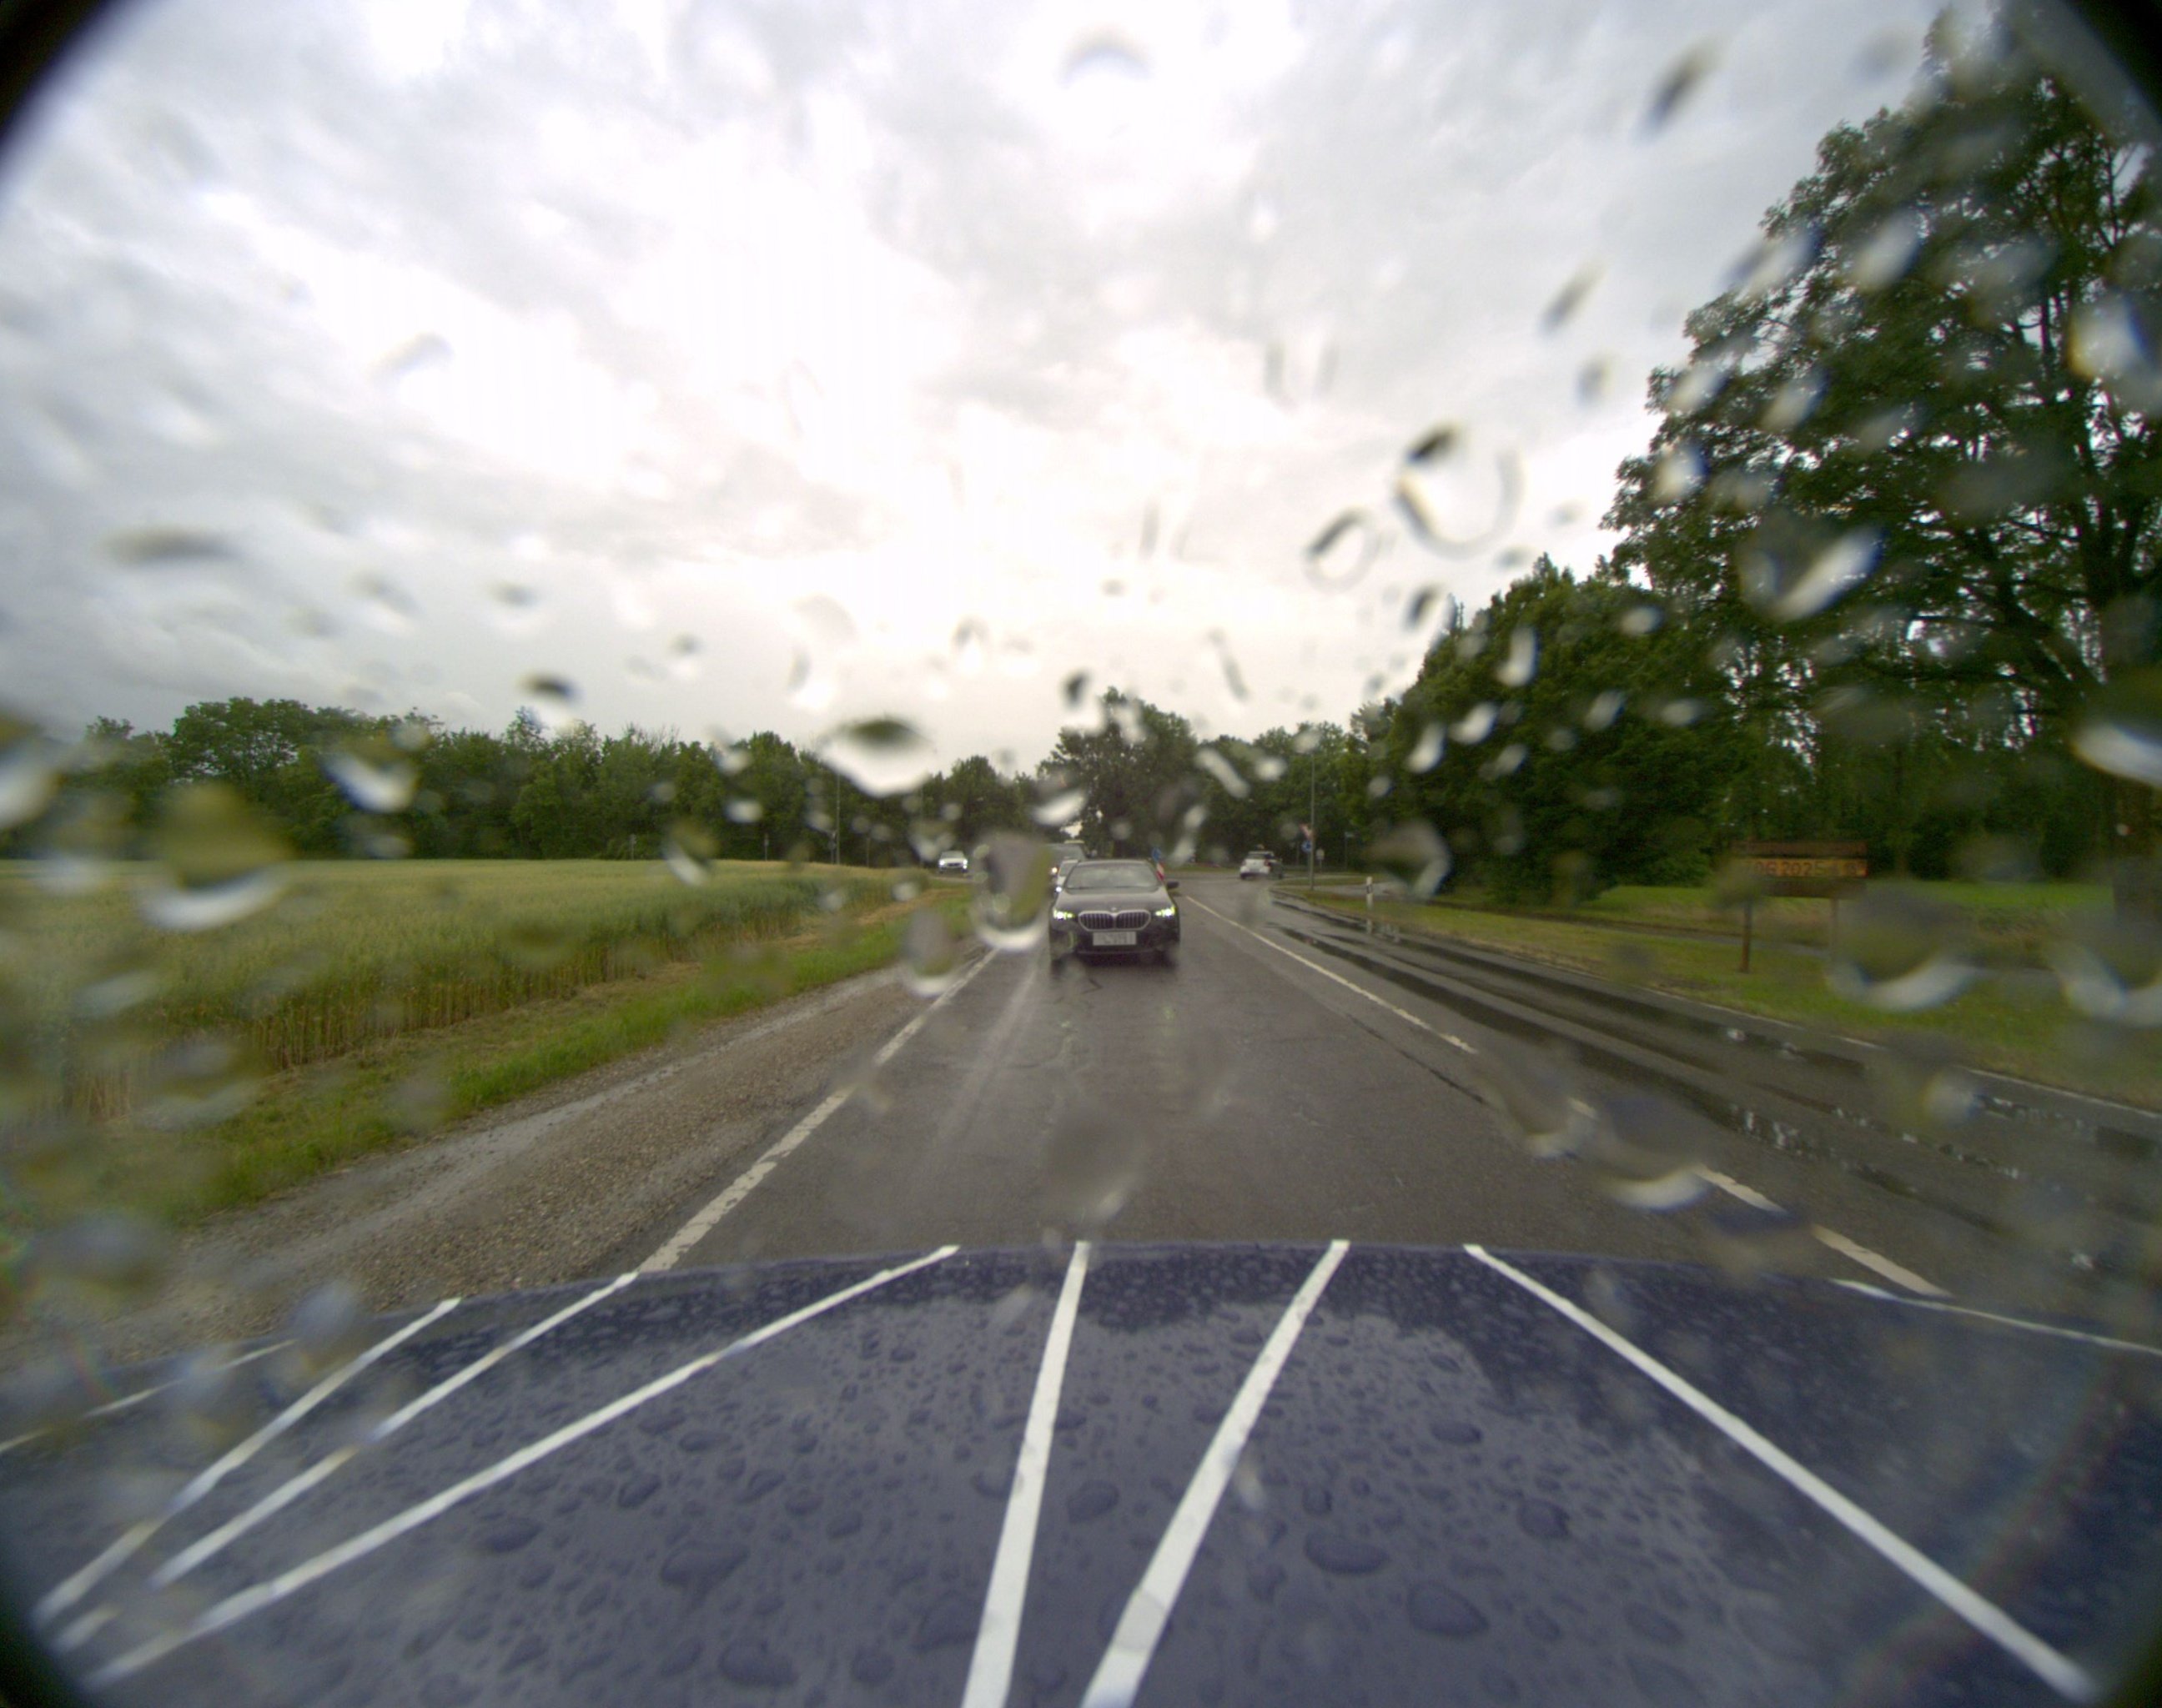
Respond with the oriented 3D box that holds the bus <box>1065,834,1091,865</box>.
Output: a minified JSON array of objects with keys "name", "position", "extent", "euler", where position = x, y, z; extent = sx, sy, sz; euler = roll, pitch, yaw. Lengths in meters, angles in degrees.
[{"name":"bus","position":[-0.239,-0.604,98.315],"extent":[2.995,3.665,14.294],"euler":[1,0,1]}]

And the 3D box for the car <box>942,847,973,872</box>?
[{"name":"car","position":[-8.180,0.335,49.941],"extent":[1.893,1.522,4.498],"euler":[-1,0,-10]}]

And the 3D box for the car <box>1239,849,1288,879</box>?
[{"name":"car","position":[10.039,0.541,41.594],"extent":[1.676,1.489,3.742],"euler":[2,0,28]}]

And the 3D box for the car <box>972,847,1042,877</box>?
[{"name":"car","position":[-4.167,0.426,41.908],"extent":[1.896,1.522,5.243],"euler":[-1,0,-28]}]

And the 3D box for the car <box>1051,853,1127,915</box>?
[{"name":"car","position":[0.122,0.785,21.856],"extent":[1.892,1.482,4.189],"euler":[-1,1,-3]}]

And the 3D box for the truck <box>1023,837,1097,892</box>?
[{"name":"truck","position":[-1.036,0.372,32.454],"extent":[2.077,2.050,5.762],"euler":[-3,1,-12]}]

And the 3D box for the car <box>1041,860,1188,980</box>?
[{"name":"car","position":[0.468,0.877,11.903],"extent":[1.891,1.484,4.035],"euler":[-1,0,1]}]
